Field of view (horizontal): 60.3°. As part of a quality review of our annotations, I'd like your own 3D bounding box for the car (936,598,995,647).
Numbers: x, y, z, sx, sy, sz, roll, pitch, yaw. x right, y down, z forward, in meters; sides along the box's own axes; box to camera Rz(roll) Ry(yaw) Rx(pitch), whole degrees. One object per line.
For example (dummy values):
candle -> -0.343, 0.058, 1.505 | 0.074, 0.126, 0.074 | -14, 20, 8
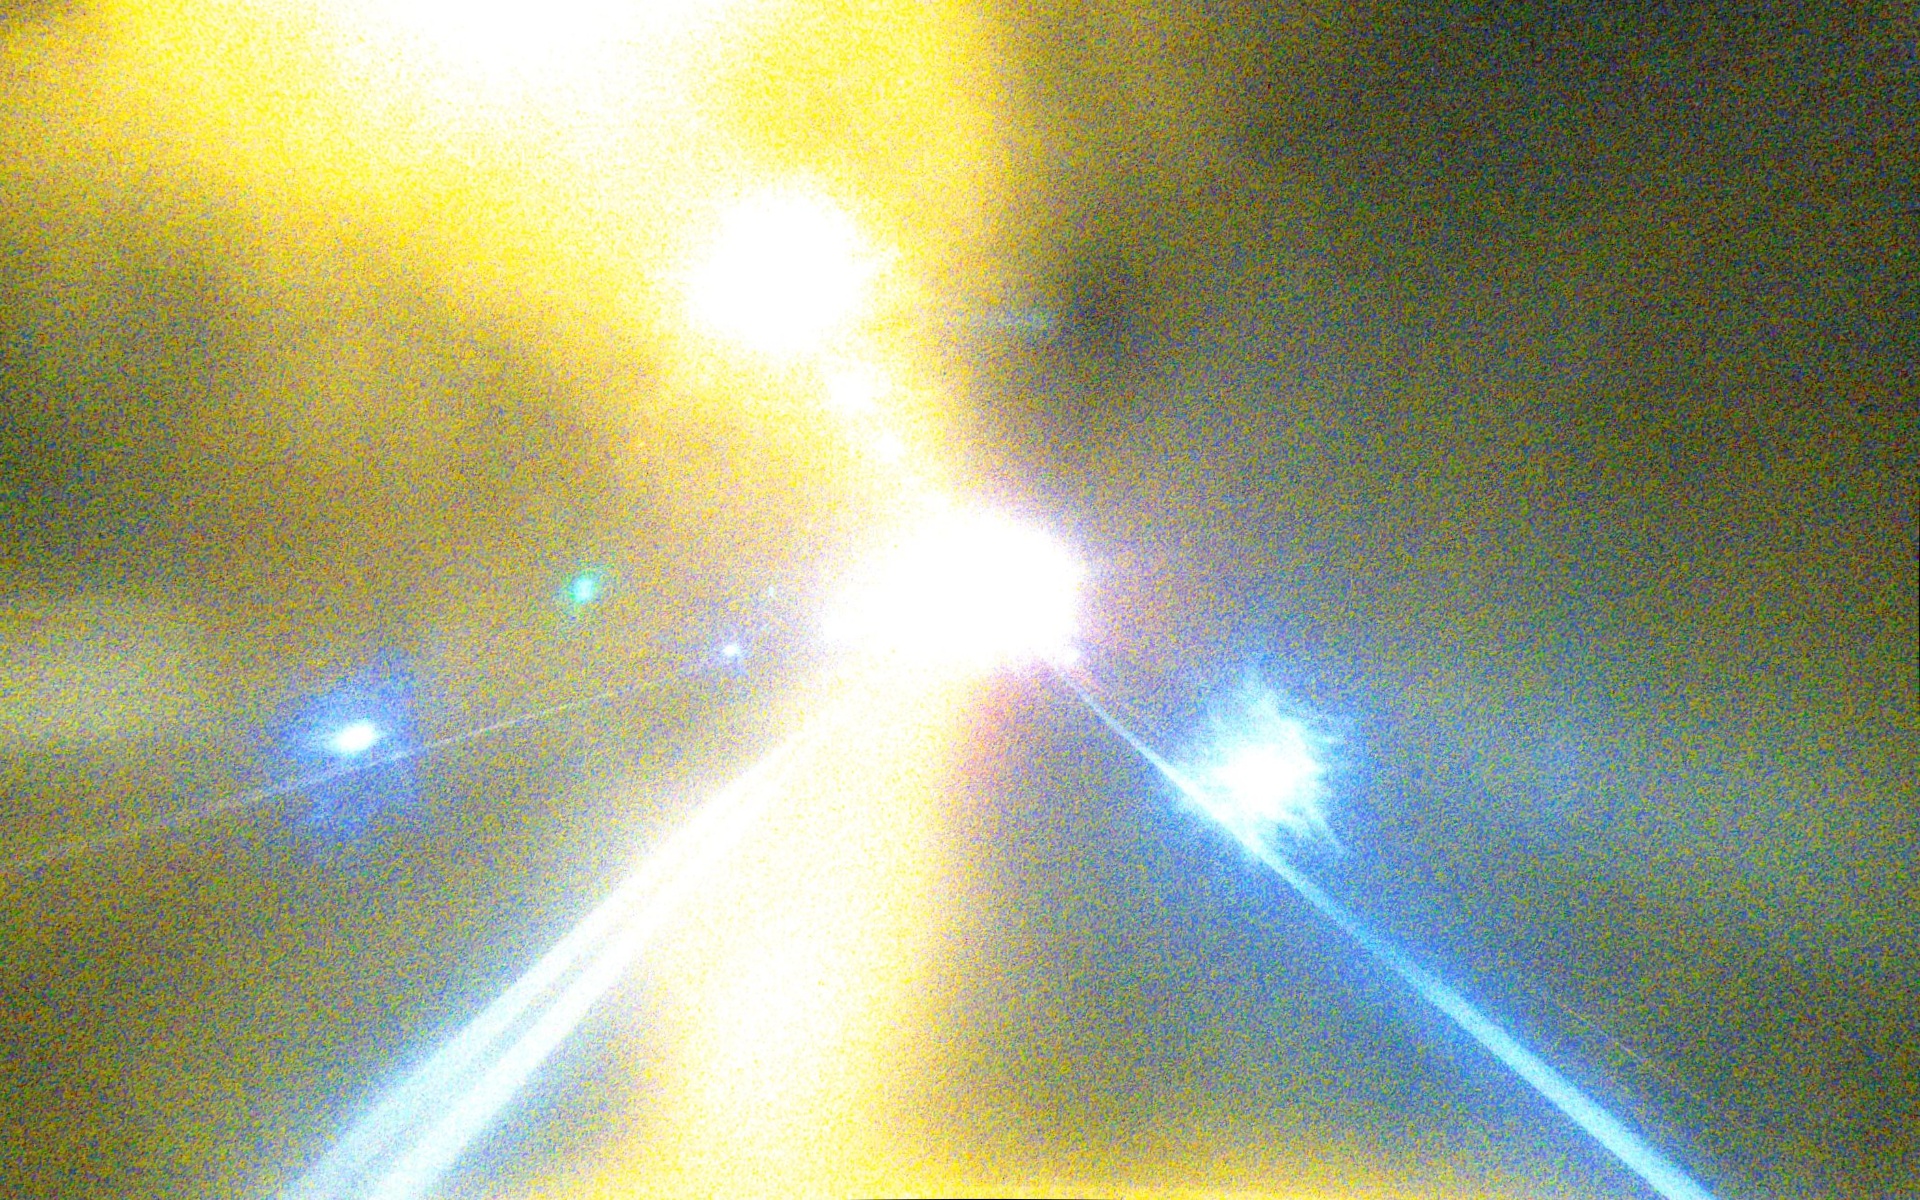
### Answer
car -> 0.226, 0.802, 60.323 | 2.046, 1.691, 4.000 | 1, -1, 1
